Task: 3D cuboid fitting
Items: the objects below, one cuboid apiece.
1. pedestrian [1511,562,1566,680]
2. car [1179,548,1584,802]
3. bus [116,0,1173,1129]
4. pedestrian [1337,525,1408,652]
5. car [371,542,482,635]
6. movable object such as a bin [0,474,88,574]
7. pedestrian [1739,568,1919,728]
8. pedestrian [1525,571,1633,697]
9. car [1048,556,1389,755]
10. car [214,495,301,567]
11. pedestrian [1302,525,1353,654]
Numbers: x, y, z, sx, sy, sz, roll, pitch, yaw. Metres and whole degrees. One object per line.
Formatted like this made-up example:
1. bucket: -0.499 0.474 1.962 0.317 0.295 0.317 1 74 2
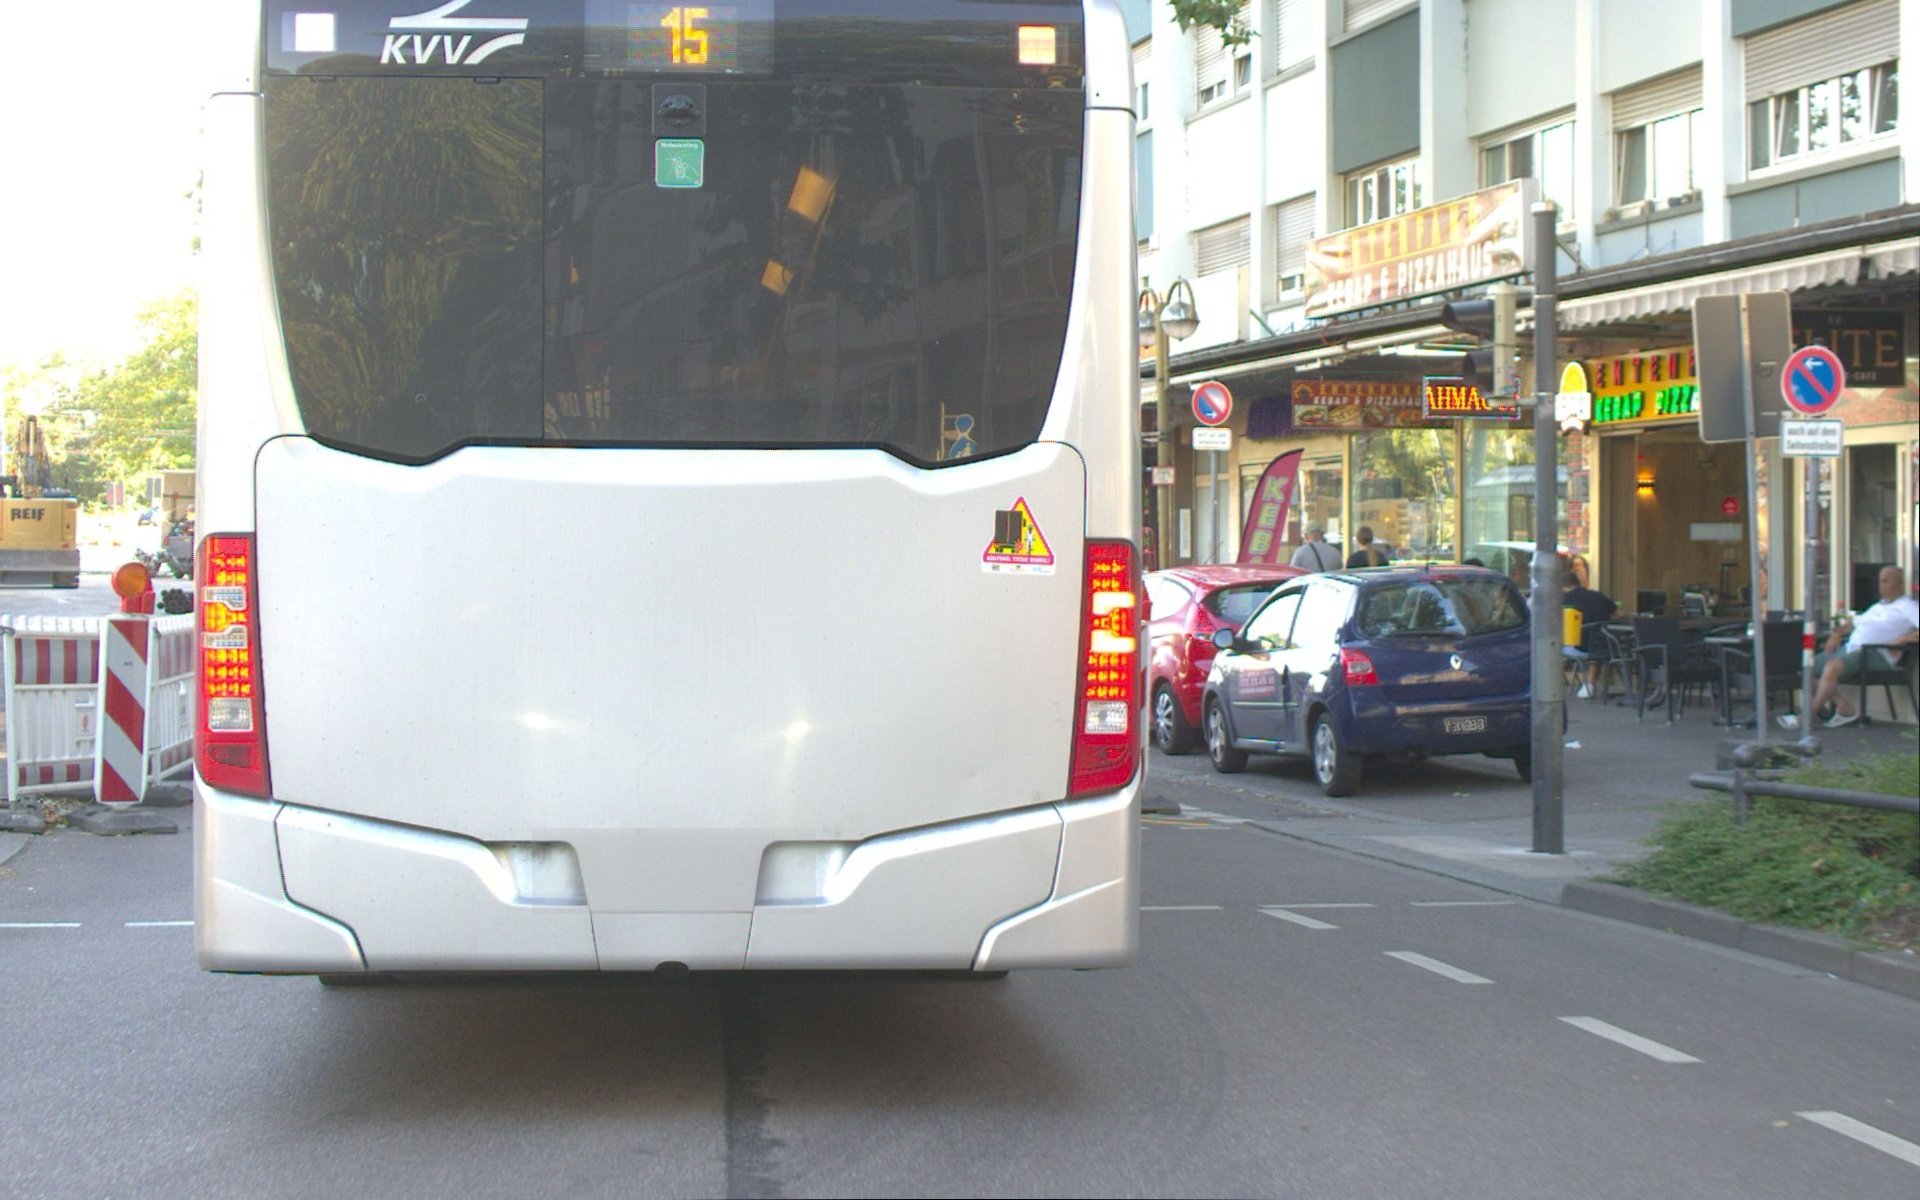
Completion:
1. pedestrian: 5.549 0.196 32.989 0.387 1.118 0.393 0 1 -13
2. car: 2.838 0.453 23.835 1.661 1.511 3.414 -3 2 -13
3. bus: -1.256 -0.276 13.828 2.657 3.088 10.218 0 1 -5
4. pedestrian: 4.071 -0.116 33.931 0.592 1.252 0.393 0 1 -11
5. car: -8.764 -0.215 56.677 1.755 1.459 4.001 0 1 -8
6. movable object such as a bin: -23.704 -1.943 88.273 2.493 2.468 5.357 0 1 -14
7. pedestrian: 6.756 0.359 26.510 1.177 1.193 0.926 0 1 -12
8. pedestrian: 5.538 0.296 30.775 0.705 1.105 0.766 0 1 -12
9. car: 2.021 0.396 27.826 1.661 1.390 3.414 -3 2 -15
10. car: -14.743 -1.436 72.123 1.755 1.459 4.001 0 1 -12
11. pedestrian: 3.602 -0.103 33.682 0.387 1.252 0.393 0 1 -13
